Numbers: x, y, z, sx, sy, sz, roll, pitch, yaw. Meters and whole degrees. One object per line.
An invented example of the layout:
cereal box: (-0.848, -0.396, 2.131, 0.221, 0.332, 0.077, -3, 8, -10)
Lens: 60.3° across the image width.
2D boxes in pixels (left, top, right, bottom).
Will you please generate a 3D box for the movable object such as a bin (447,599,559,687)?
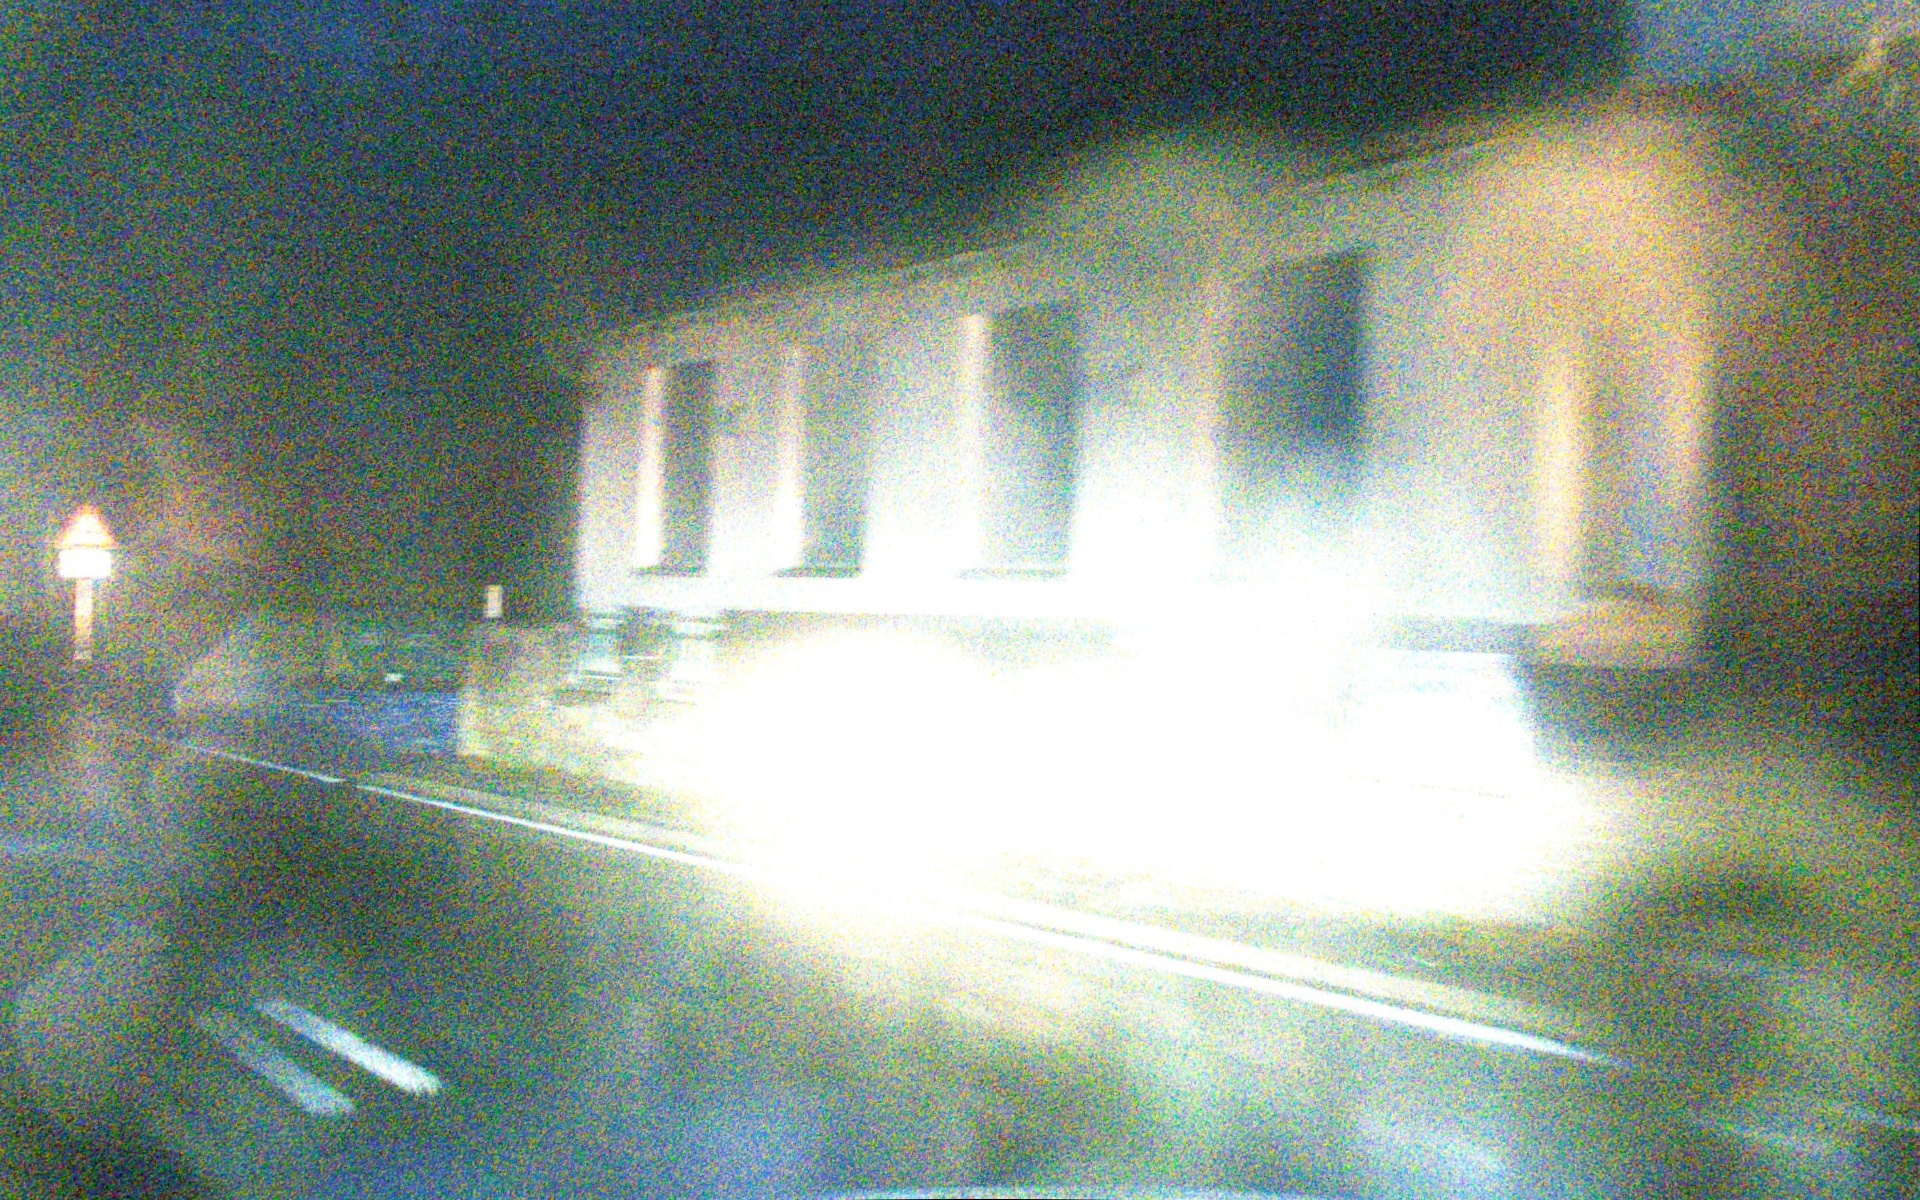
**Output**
movable object such as a bin: (-7.765, 0.721, 28.160, 1.358, 1.438, 1.251, -1, -1, 20)

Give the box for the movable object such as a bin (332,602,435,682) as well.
movable object such as a bin: (-10.157, 0.725, 29.164, 1.290, 1.332, 1.177, 0, 1, 12)

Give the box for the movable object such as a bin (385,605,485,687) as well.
movable object such as a bin: (-9.013, 0.778, 28.446, 1.202, 1.348, 1.154, 1, 0, 14)

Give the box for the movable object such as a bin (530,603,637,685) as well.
movable object such as a bin: (-6.284, 0.718, 27.670, 1.286, 1.321, 1.251, 0, 0, 20)
